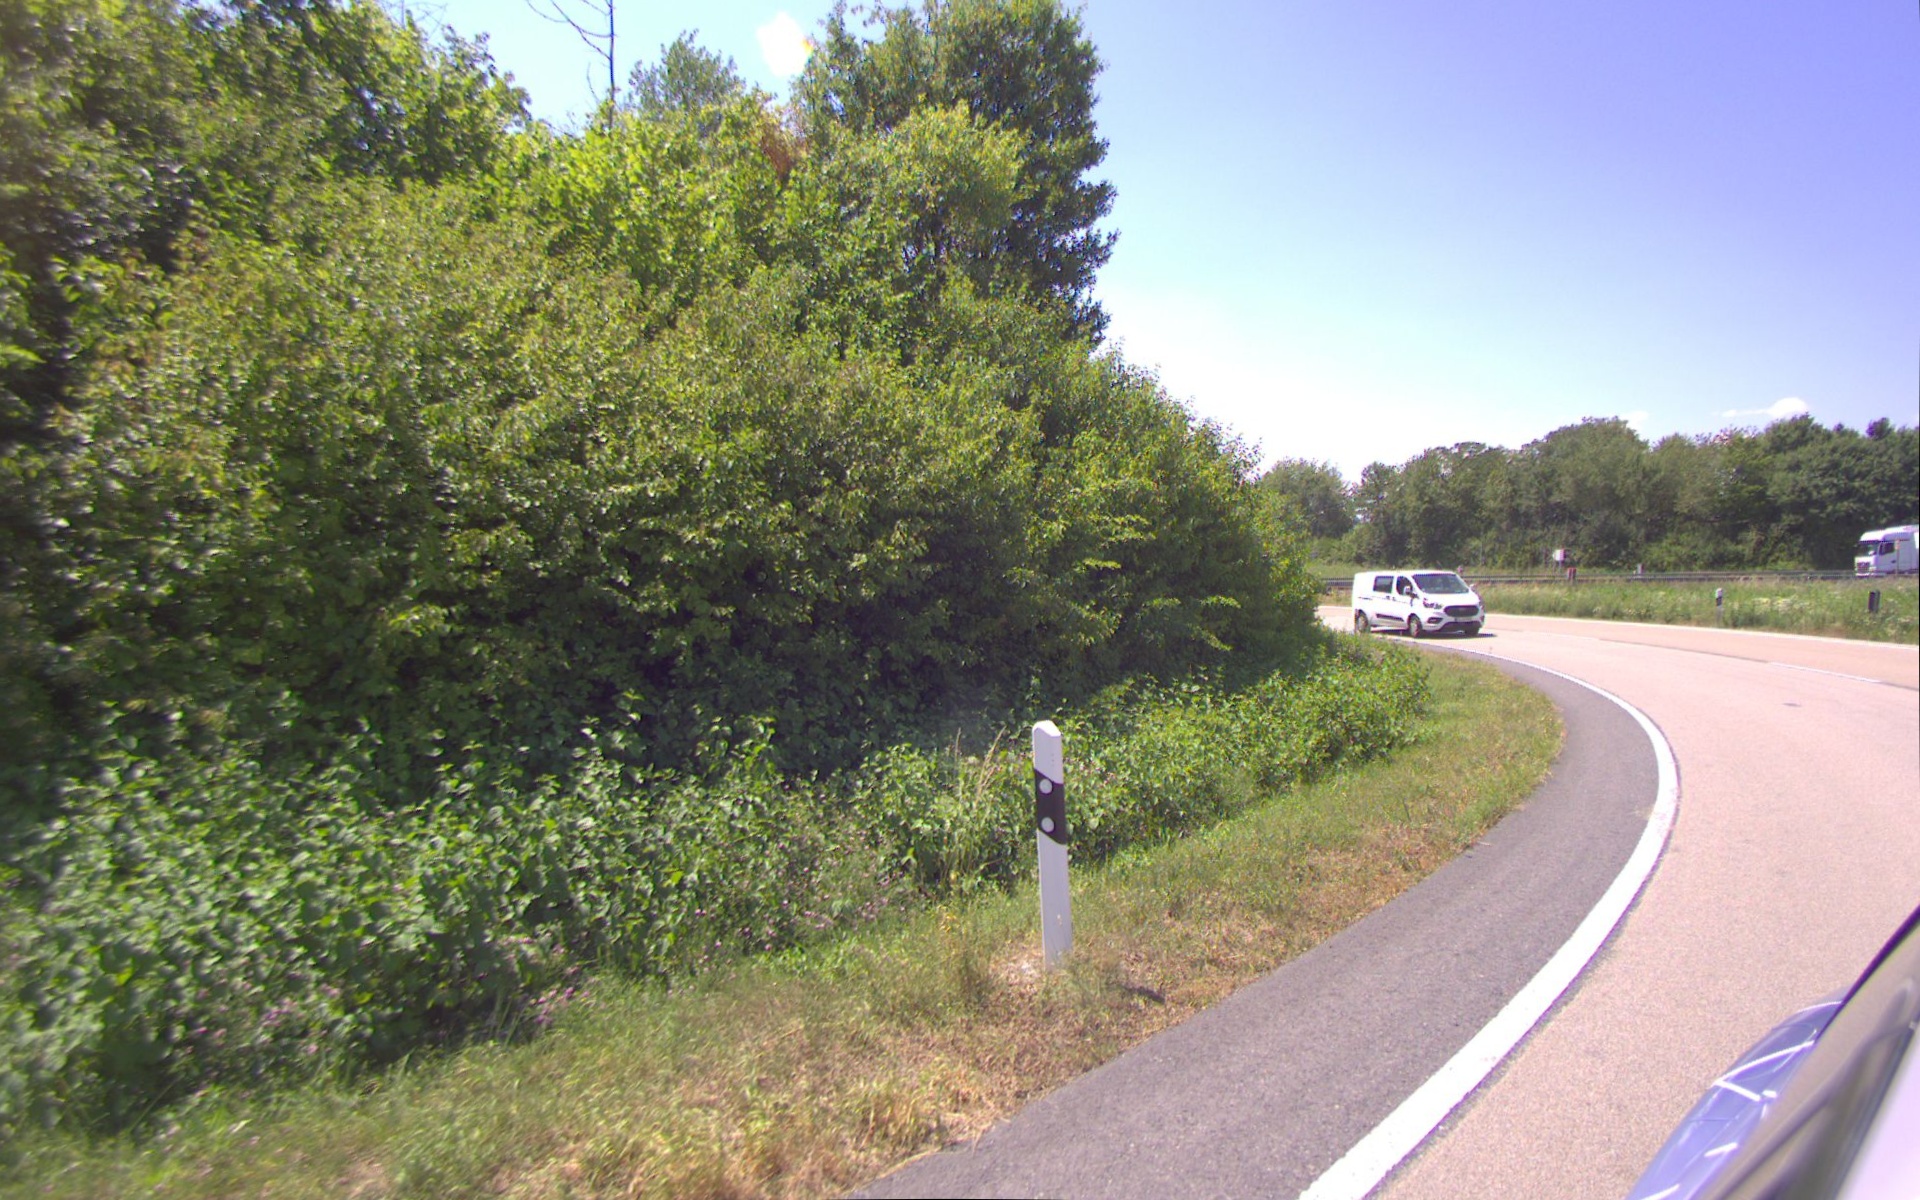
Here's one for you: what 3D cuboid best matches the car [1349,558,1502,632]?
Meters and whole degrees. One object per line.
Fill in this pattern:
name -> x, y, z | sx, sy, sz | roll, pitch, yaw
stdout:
car -> 14.448, -0.222, 31.803 | 2.022, 2.038, 5.048 | -3, 2, -5

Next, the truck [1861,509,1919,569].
truck -> 66.675, -4.237, 70.275 | 5.343, 3.989, 2.906 | -1, 1, 17
